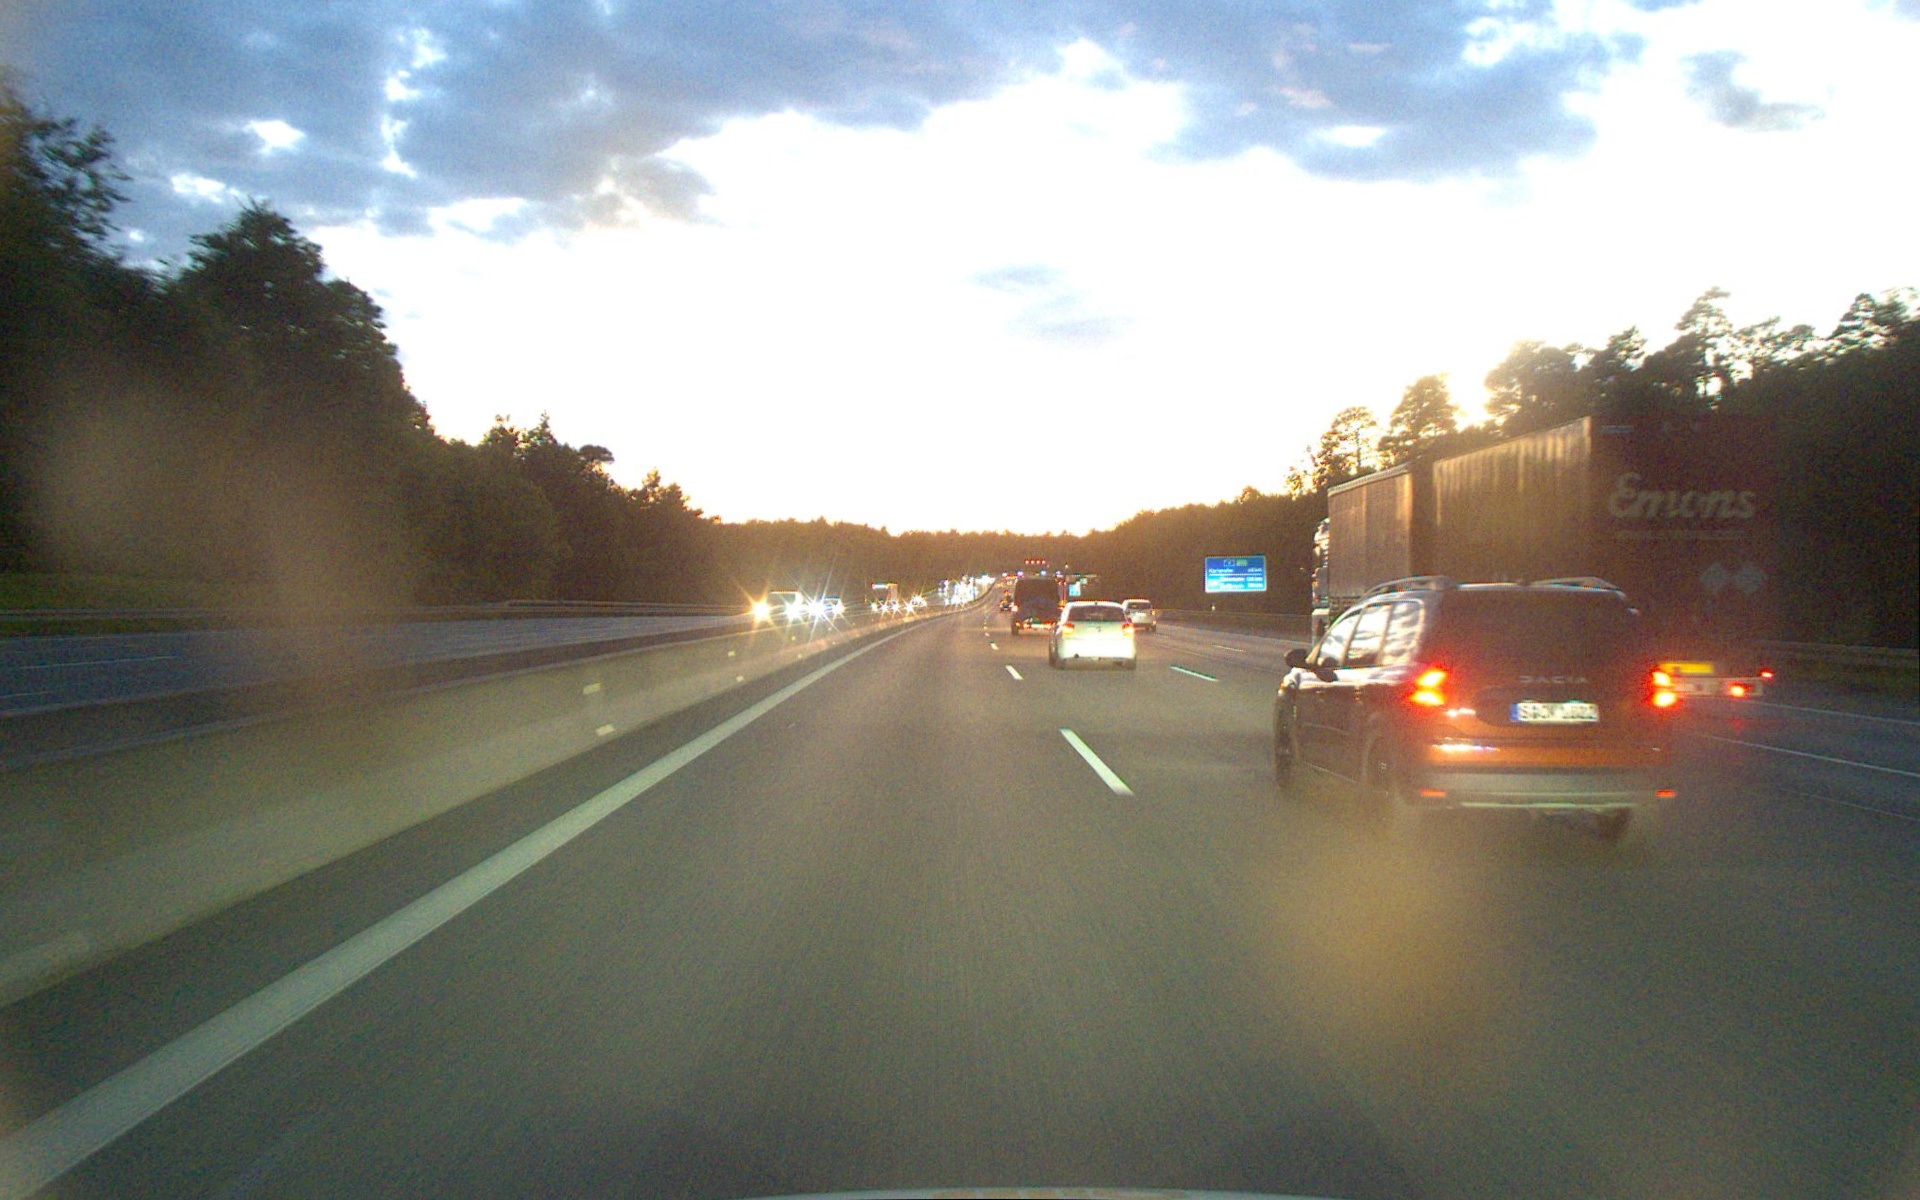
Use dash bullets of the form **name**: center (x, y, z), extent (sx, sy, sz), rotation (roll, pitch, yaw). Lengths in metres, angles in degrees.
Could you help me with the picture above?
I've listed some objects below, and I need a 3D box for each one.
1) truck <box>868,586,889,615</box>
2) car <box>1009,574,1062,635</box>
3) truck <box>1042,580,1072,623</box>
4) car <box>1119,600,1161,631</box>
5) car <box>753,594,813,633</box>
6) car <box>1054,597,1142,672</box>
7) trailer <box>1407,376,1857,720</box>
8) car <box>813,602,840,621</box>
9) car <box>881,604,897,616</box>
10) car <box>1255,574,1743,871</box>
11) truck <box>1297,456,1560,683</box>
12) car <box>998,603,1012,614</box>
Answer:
- **truck**: center (-11.819, 0.109, 239.826), extent (2.595, 4.204, 6.524), rotation (0, 0, 0)
- **car**: center (3.245, 0.208, 69.760), extent (2.120, 2.461, 5.566), rotation (0, 0, 4)
- **truck**: center (13.832, 0.240, 237.018), extent (4.063, 5.959, 14.299), rotation (0, 0, 2)
- **car**: center (9.111, 0.790, 84.117), extent (1.966, 1.565, 4.002), rotation (0, 0, 4)
- **car**: center (-8.091, 0.603, 76.090), extent (1.952, 1.667, 5.112), rotation (1, 0, 2)
- **car**: center (3.009, 0.717, 36.376), extent (1.820, 1.467, 3.723), rotation (1, 1, 4)
- **trailer**: center (9.587, -0.606, 25.328), extent (2.847, 4.172, 10.358), rotation (0, 0, 1)
- **car**: center (-10.453, 0.910, 129.720), extent (1.719, 1.454, 5.361), rotation (1, 0, -1)
- **car**: center (-8.730, 1.263, 203.311), extent (1.740, 1.426, 4.939), rotation (1, 0, 1)
- **car**: center (3.495, 0.668, 11.860), extent (1.864, 1.672, 5.052), rotation (0, 1, 0)
- **truck**: center (9.757, -0.542, 35.967), extent (2.825, 4.172, 10.832), rotation (0, 0, 1)
- **car**: center (6.138, 1.157, 226.698), extent (1.798, 1.598, 4.002), rotation (0, 0, 4)
